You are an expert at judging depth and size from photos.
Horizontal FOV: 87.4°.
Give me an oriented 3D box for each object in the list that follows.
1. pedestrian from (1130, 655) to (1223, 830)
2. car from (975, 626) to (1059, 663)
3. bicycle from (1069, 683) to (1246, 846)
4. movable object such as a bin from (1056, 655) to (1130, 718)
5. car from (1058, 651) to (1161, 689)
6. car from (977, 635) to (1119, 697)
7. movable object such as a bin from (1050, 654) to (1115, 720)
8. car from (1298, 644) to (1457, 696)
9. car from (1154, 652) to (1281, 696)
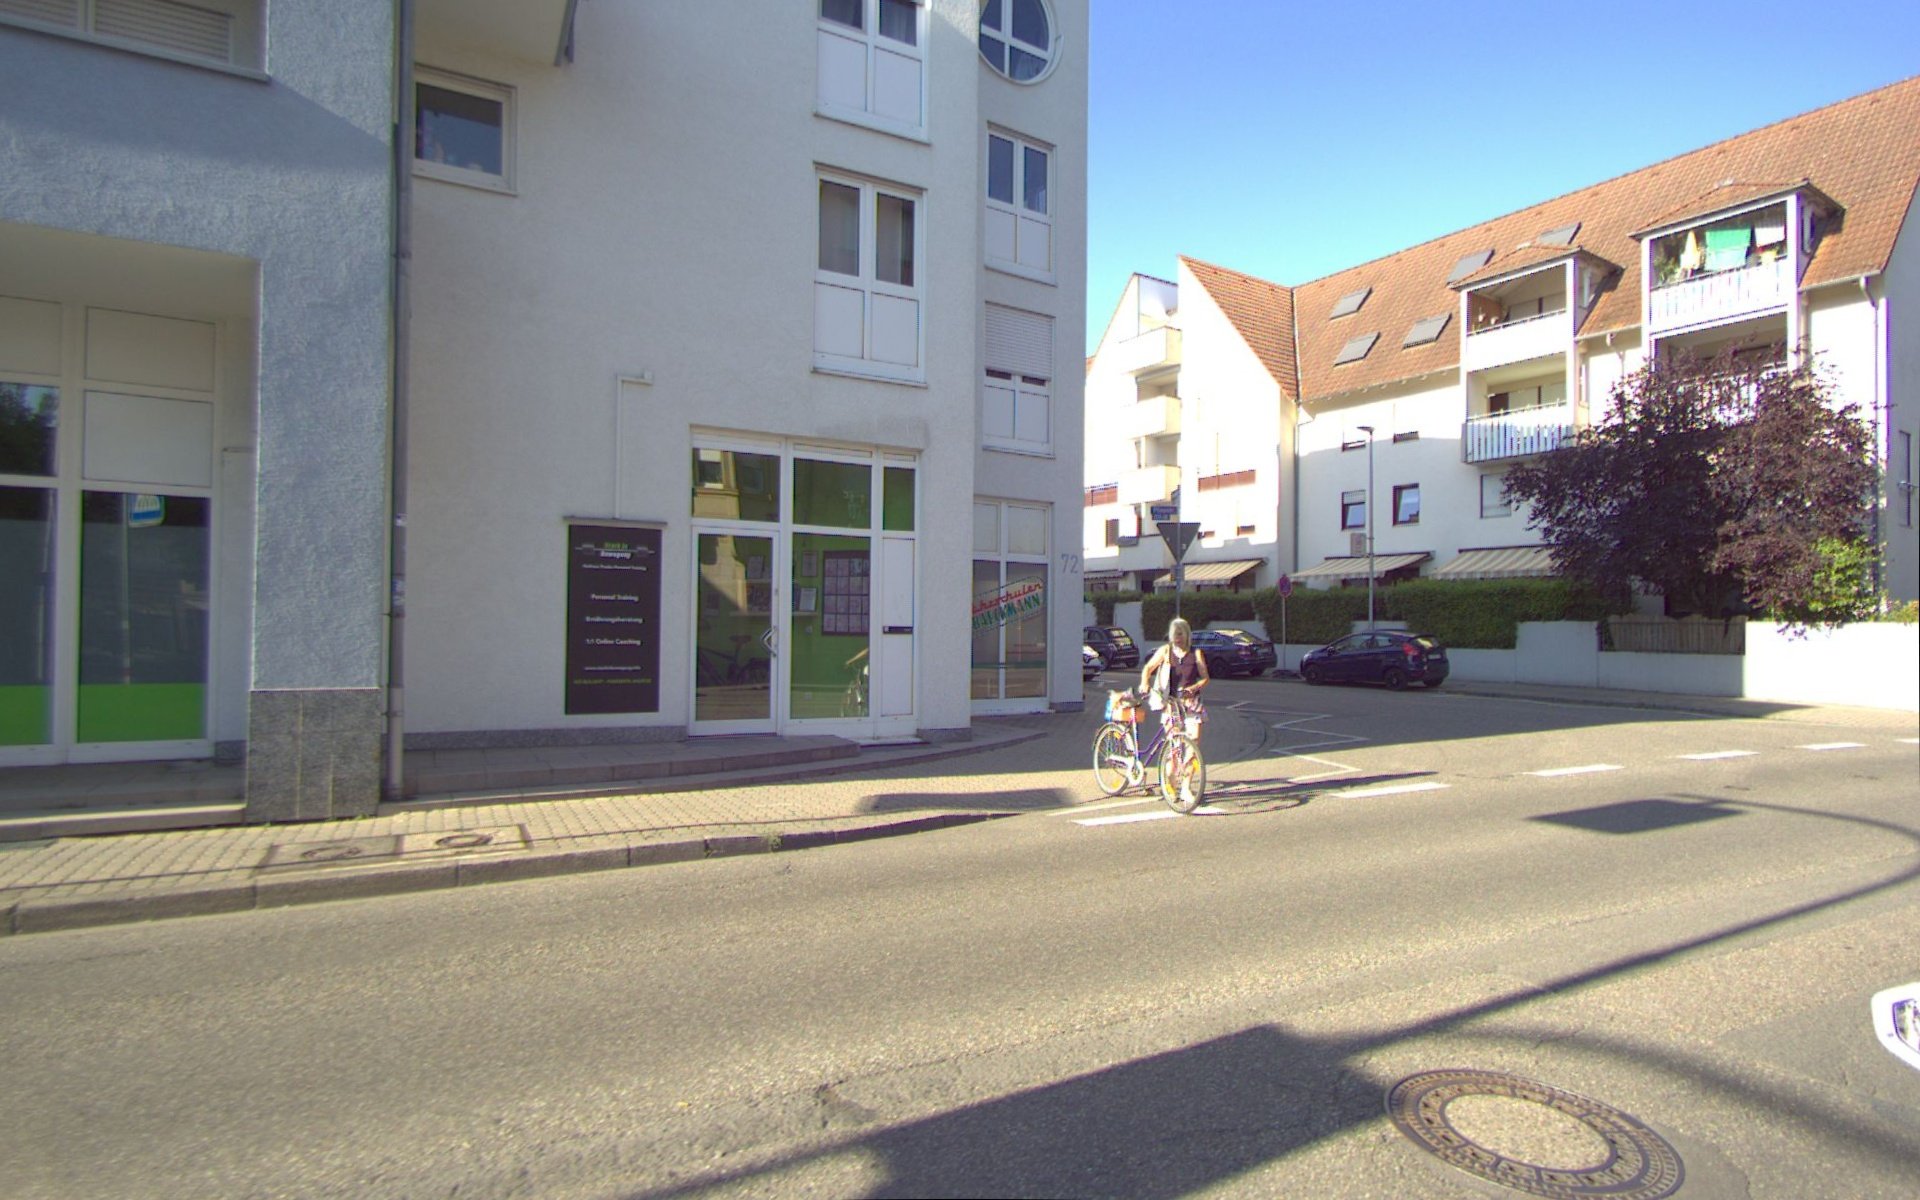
[{"bbox_3d":[1.957,1.256,9.098,0.594,1.492,0.554,0,-1,-31],"label":"pedestrian"},{"bbox_3d":[2.190,1.756,39.586,1.558,1.373,3.576,0,-2,-31],"label":"car"},{"bbox_3d":[1.707,1.394,8.968,0.591,1.200,1.780,0,-1,-26],"label":"bicycle"},{"bbox_3d":[2.650,1.706,20.108,0.883,1.180,1.212,0,-1,-32],"label":"movable object such as a bin"},{"bbox_3d":[5.158,2.398,35.028,1.586,1.196,3.656,0,-2,-31],"label":"car"},{"bbox_3d":[2.372,1.775,27.886,1.888,1.528,3.904,3,-2,-34],"label":"car"},{"bbox_3d":[2.330,1.633,19.102,0.875,1.180,0.850,0,-2,-33],"label":"movable object such as a bin"},{"bbox_3d":[10.659,1.759,25.869,1.598,1.196,3.523,0,-2,-31],"label":"car"},{"bbox_3d":[7.809,2.219,30.743,1.658,1.196,3.656,0,-2,-31],"label":"car"}]
